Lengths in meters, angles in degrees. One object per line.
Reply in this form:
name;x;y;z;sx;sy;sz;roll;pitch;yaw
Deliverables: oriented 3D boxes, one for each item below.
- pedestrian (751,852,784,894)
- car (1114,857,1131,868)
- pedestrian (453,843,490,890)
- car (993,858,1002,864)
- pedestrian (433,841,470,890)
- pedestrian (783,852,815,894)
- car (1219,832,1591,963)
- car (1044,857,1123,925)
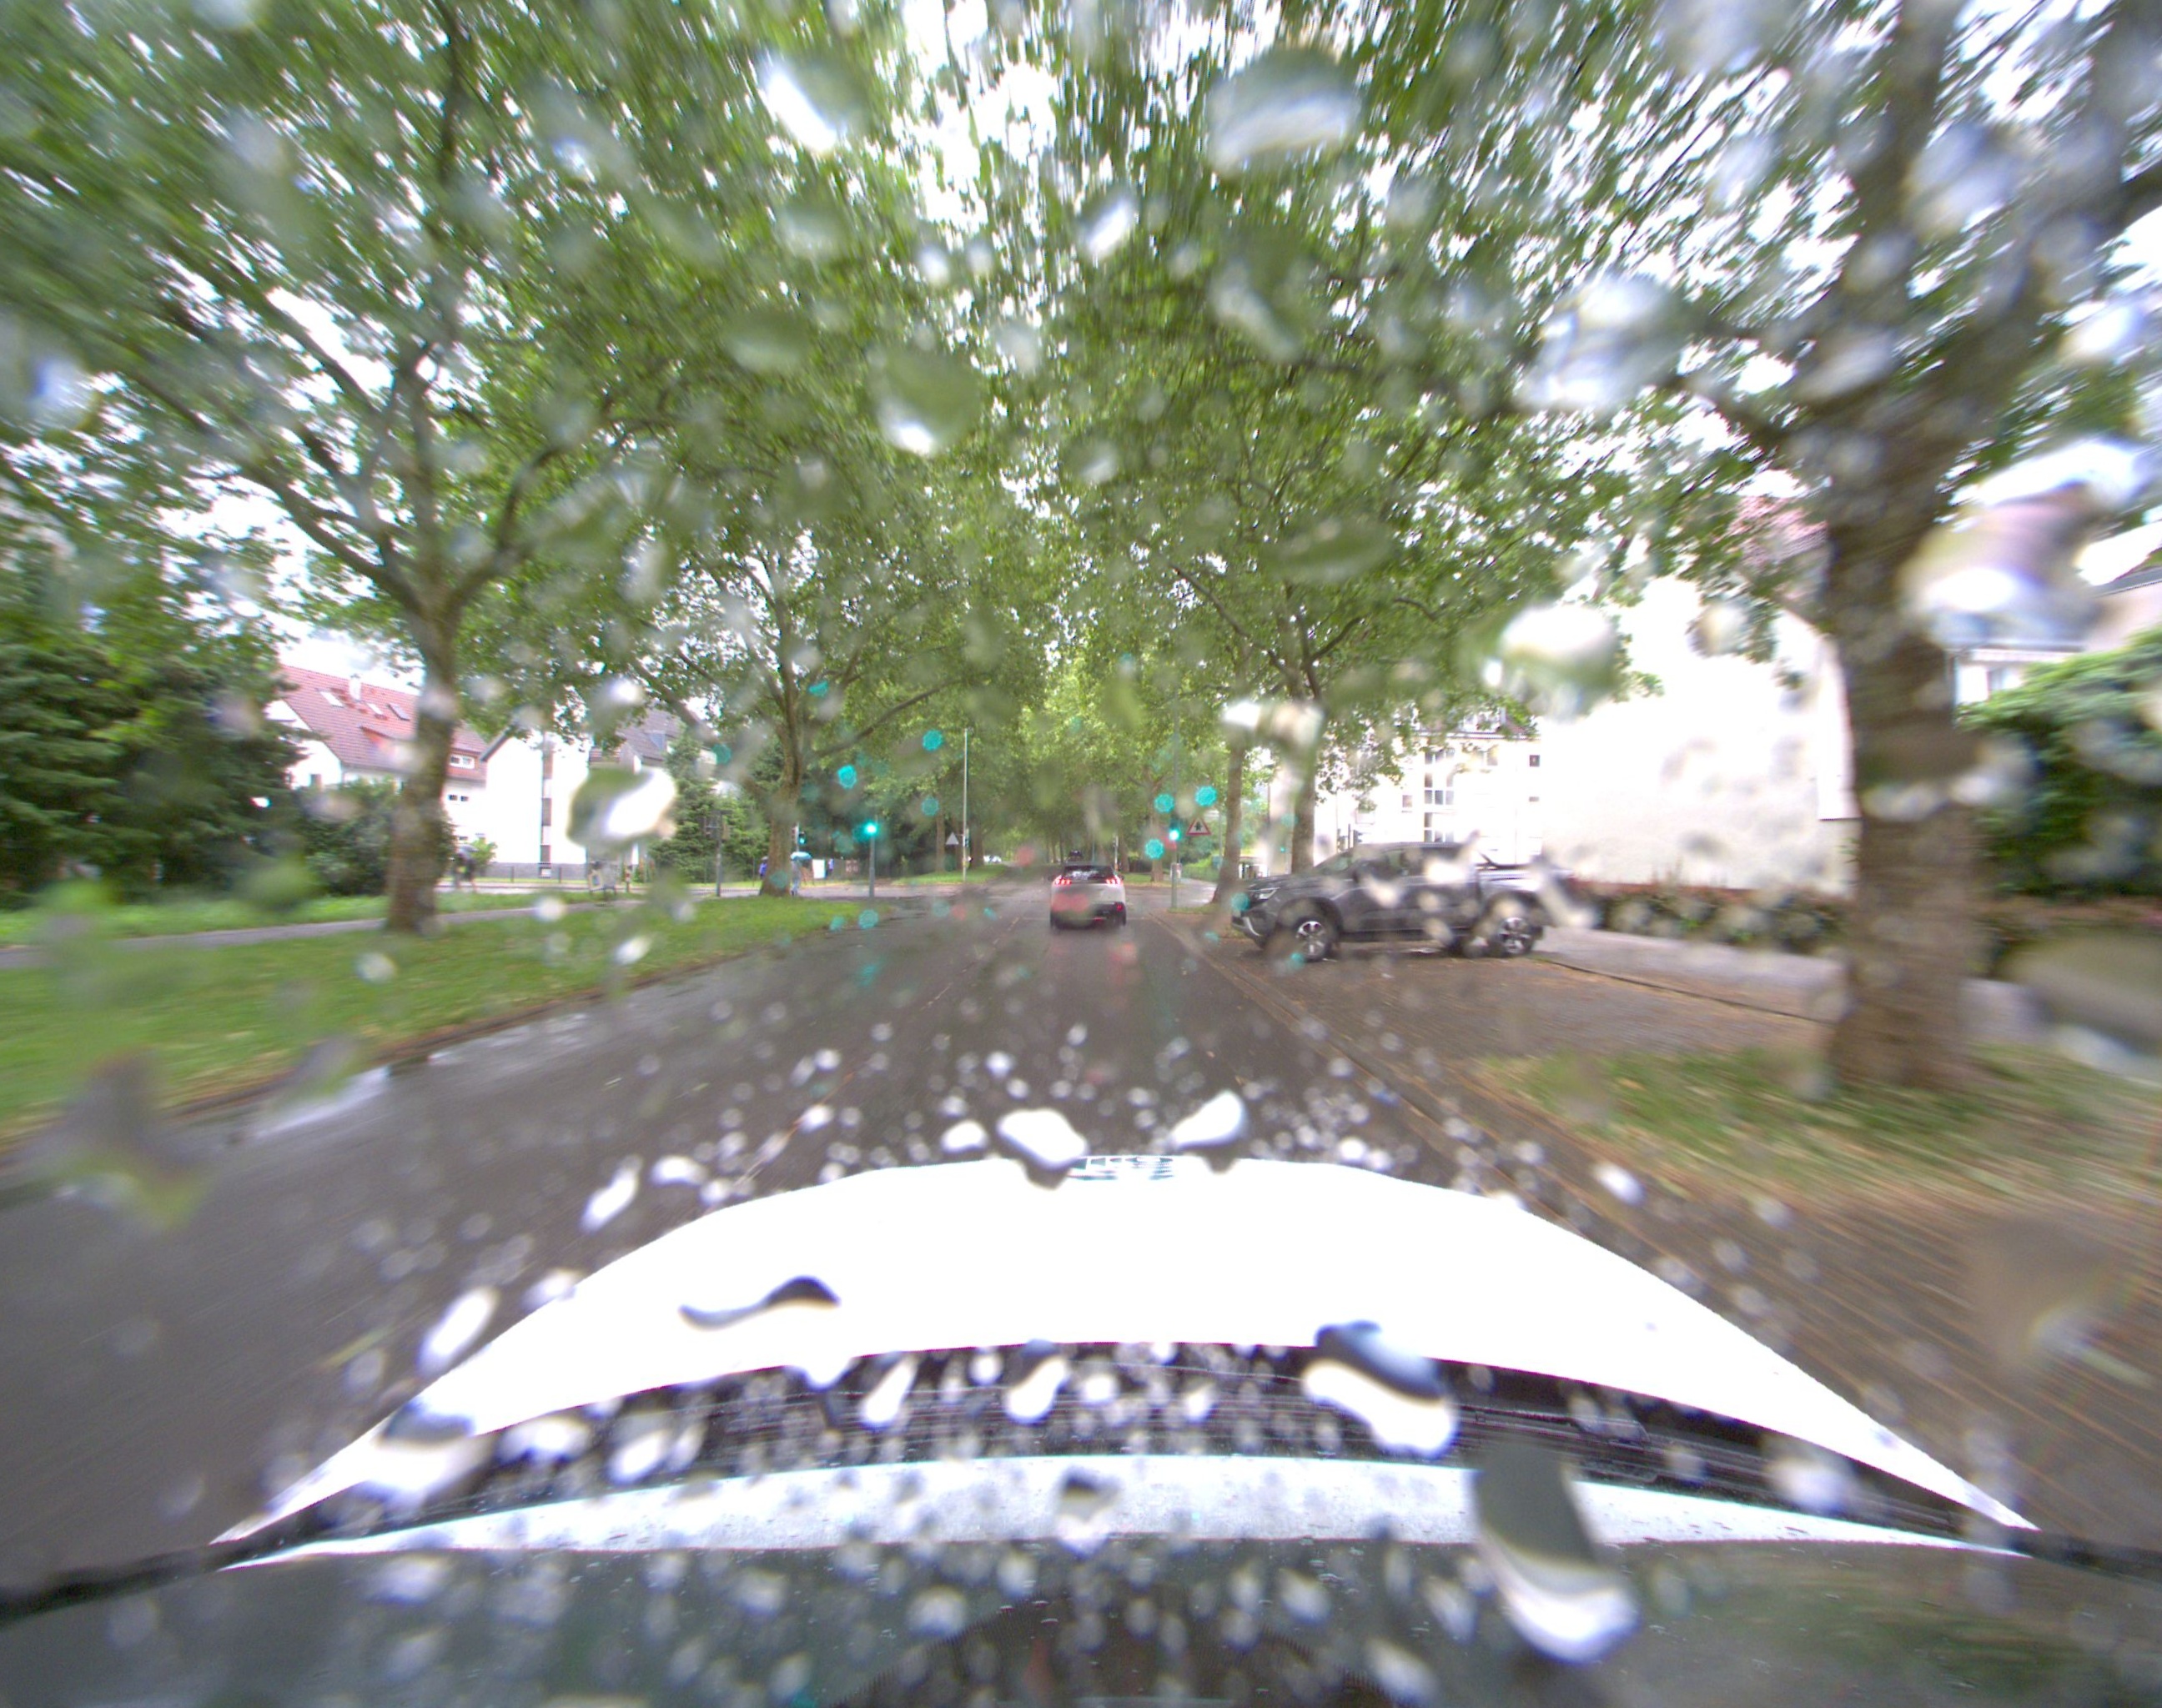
pedestrian;-13.233;0.794;34.365;1.029;1.765;0.879;0;0;1
car;5.502;1.119;108.968;1.901;1.510;3.928;0;0;-2
pedestrian;-22.893;0.469;30.615;0.856;1.744;0.639;1;-1;-2
car;-21.305;1.803;207.409;1.869;1.677;3.705;0;0;-2
pedestrian;-22.980;0.426;29.734;0.818;1.744;0.639;1;-1;-2
pedestrian;-11.957;0.806;34.538;1.029;1.765;0.838;0;0;1
car;5.086;0.648;13.165;5.330;1.807;1.841;-1;-1;-6
car;0.113;0.835;20.259;1.774;1.536;4.058;0;0;1
